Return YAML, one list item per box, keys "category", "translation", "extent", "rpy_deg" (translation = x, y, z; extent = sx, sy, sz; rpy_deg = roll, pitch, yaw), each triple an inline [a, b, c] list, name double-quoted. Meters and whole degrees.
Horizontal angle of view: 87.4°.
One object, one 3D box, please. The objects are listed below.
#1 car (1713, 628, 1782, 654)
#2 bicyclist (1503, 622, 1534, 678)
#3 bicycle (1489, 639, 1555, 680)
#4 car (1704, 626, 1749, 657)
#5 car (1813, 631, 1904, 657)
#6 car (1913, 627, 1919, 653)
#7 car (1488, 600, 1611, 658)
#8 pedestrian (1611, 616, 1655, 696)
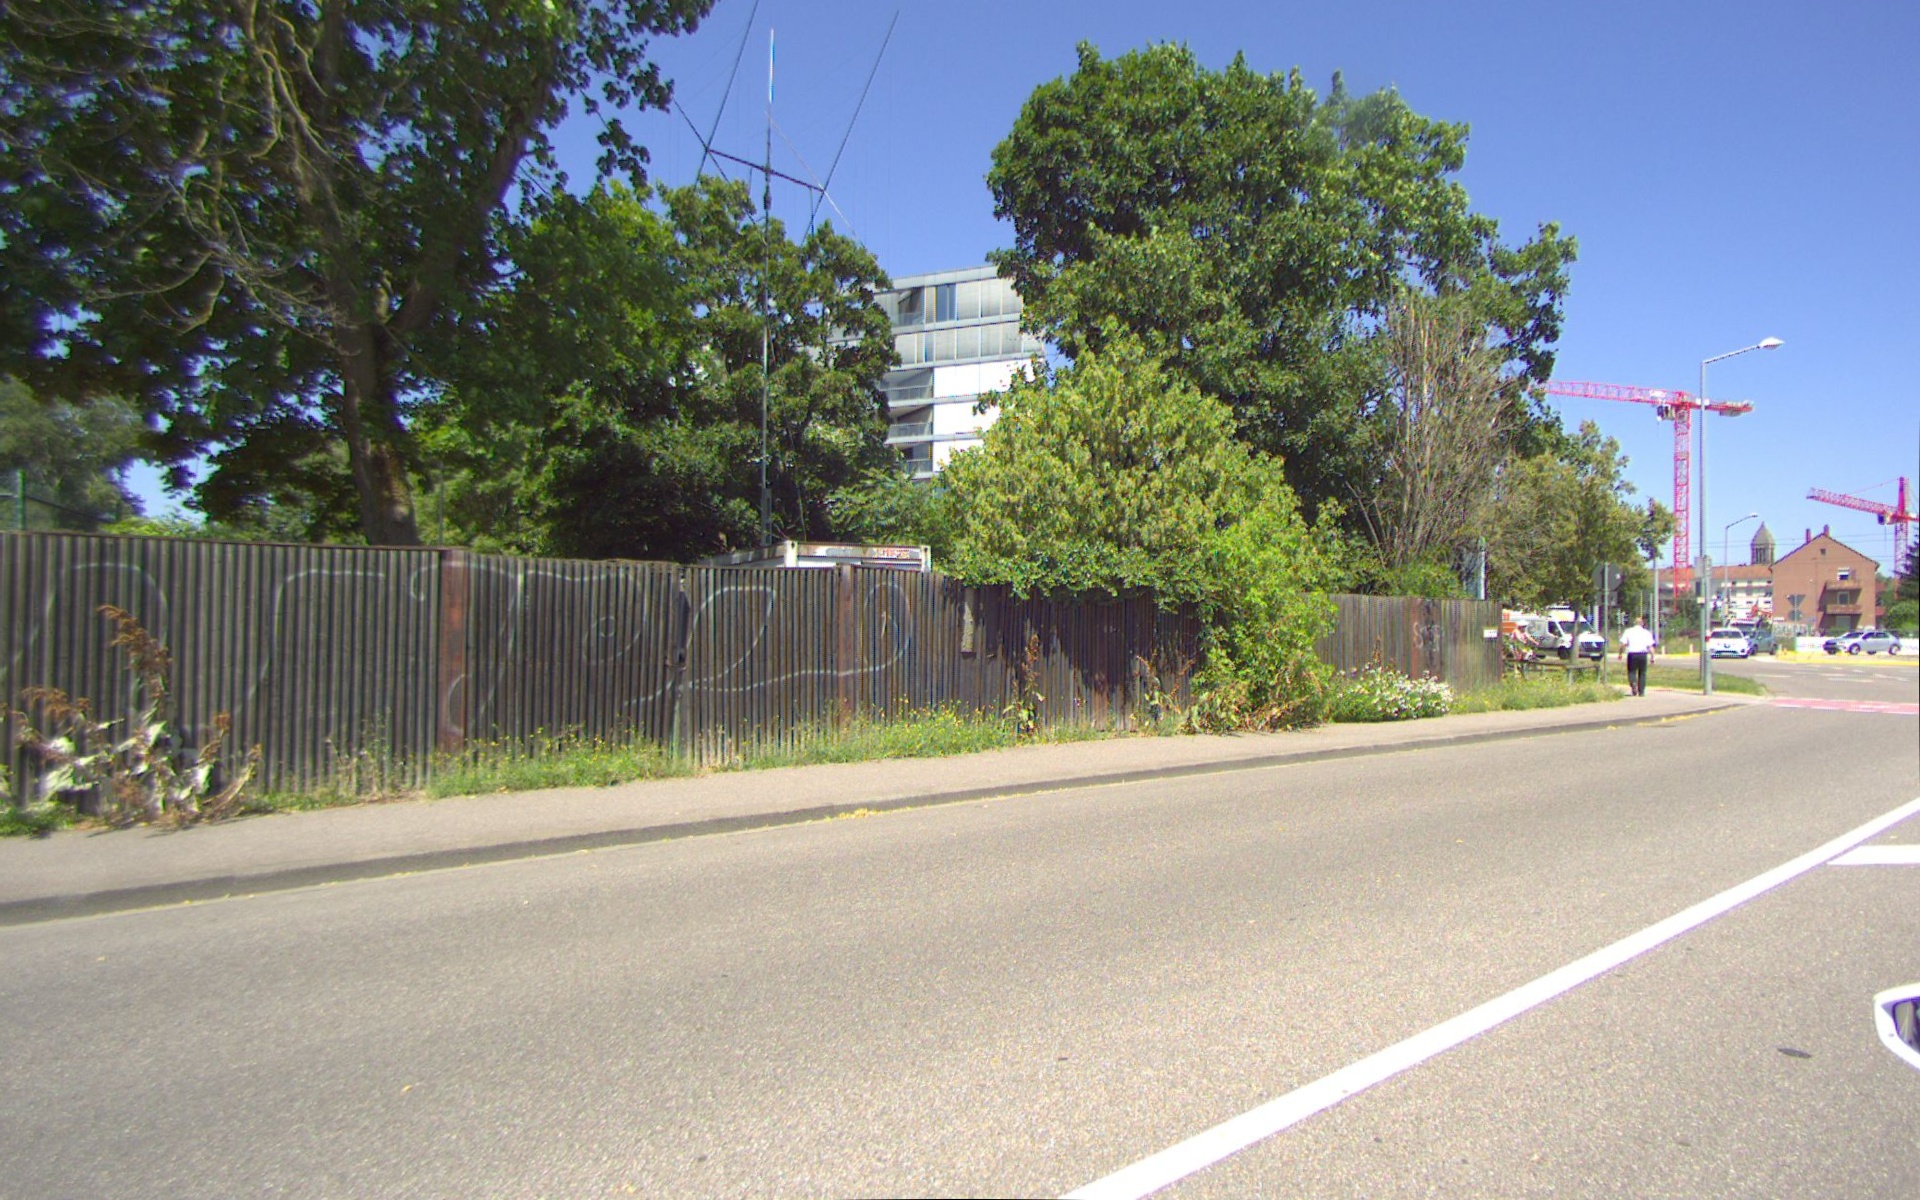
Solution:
- category: "car"
  translation: [45.493, 2.365, 58.002]
  extent: [4.282, 1.390, 1.737]
  rpy_deg: [2, 0, -31]
- category: "bicyclist"
  translation: [18.203, 1.628, 32.727]
  extent: [0.582, 1.775, 0.671]
  rpy_deg: [1, -2, -12]
- category: "bicycle"
  translation: [18.221, 1.911, 32.644]
  extent: [0.623, 1.237, 2.093]
  rpy_deg: [1, -1, -13]
- category: "car"
  translation: [40.499, 2.166, 53.118]
  extent: [1.752, 1.547, 3.860]
  rpy_deg: [0, -2, 35]
- category: "car"
  translation: [55.724, 2.697, 62.340]
  extent: [4.188, 1.421, 1.732]
  rpy_deg: [2, 0, -3]
- category: "car"
  translation: [66.795, 2.781, 66.995]
  extent: [4.365, 1.759, 1.845]
  rpy_deg: [2, 0, 30]
- category: "car"
  translation: [31.408, 1.464, 53.888]
  extent: [1.962, 2.865, 6.877]
  rpy_deg: [2, 0, -6]
- category: "pedestrian"
  translation: [15.621, 1.281, 23.322]
  extent: [0.625, 1.810, 0.969]
  rpy_deg: [2, 0, 23]
